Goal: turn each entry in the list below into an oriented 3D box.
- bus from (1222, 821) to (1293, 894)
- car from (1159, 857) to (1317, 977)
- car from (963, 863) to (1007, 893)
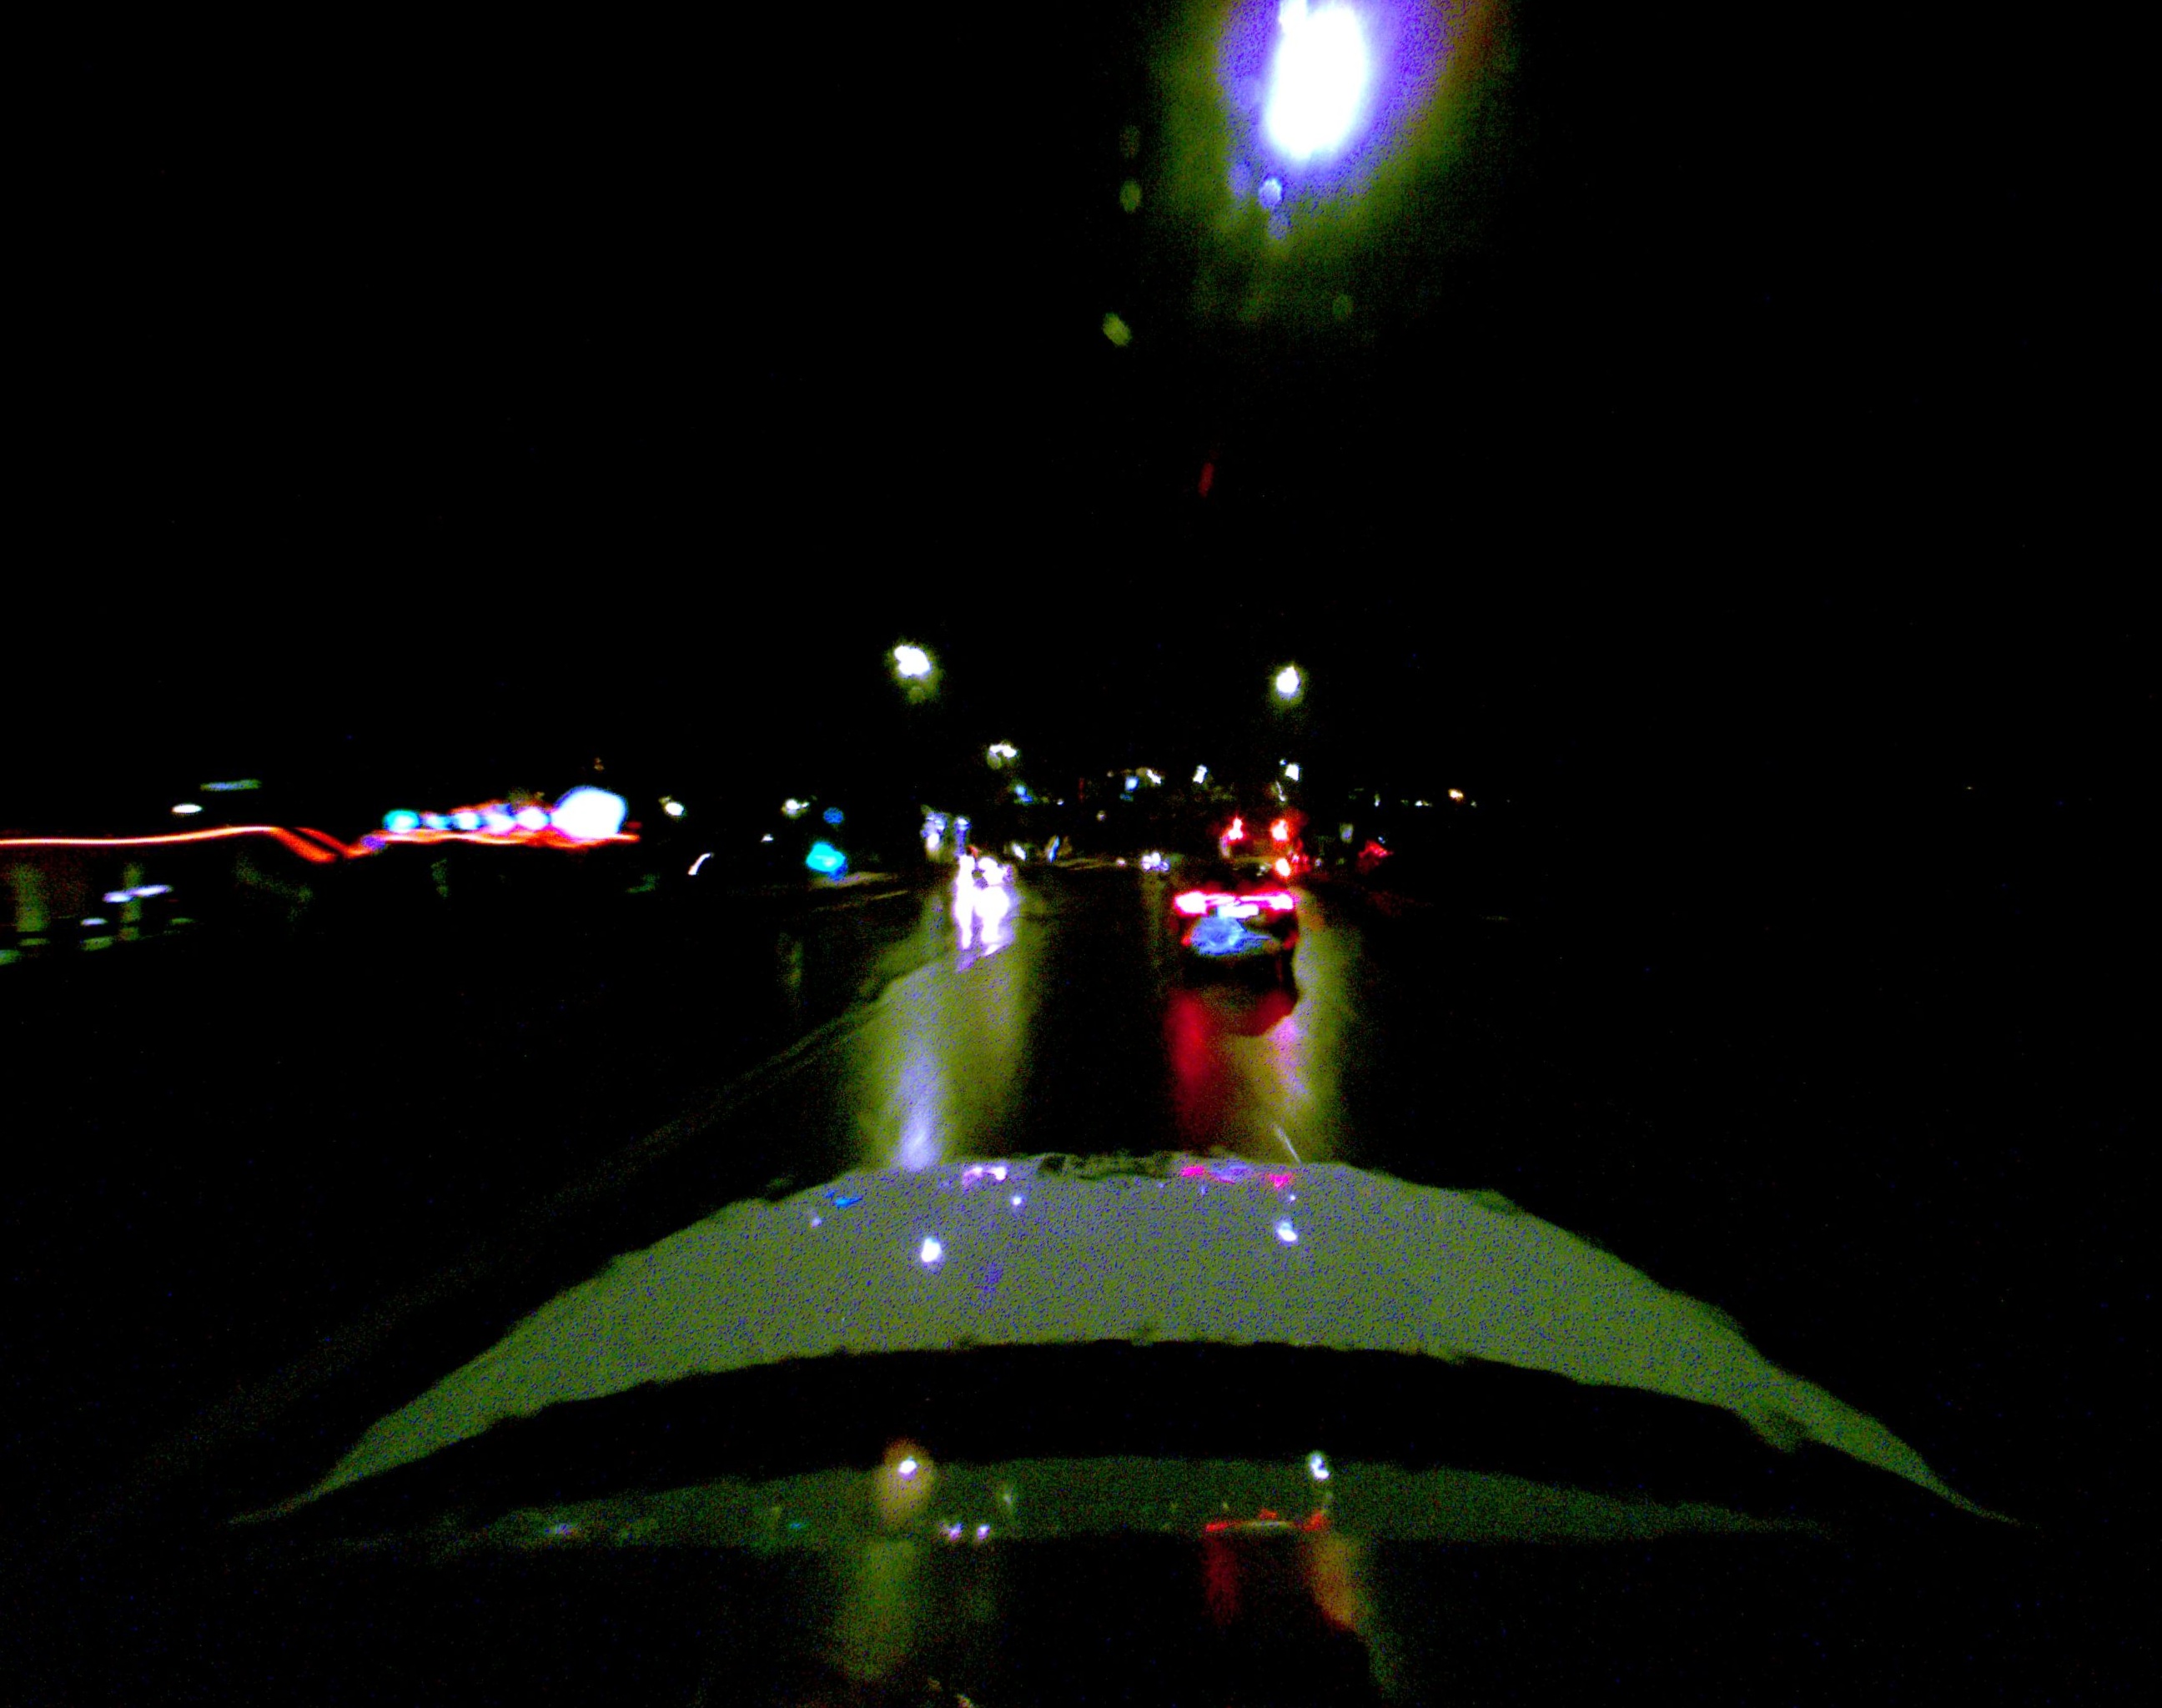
[{"bbox_3d":[8.879,0.238,40.752,3.022,3.213,9.081,-1,-1,13],"label":"bus"},{"bbox_3d":[2.325,0.858,12.688,1.982,1.524,4.009,-2,-1,8],"label":"car"},{"bbox_3d":[-4.977,1.228,42.730,1.820,1.504,4.187,-1,-1,0],"label":"car"}]
